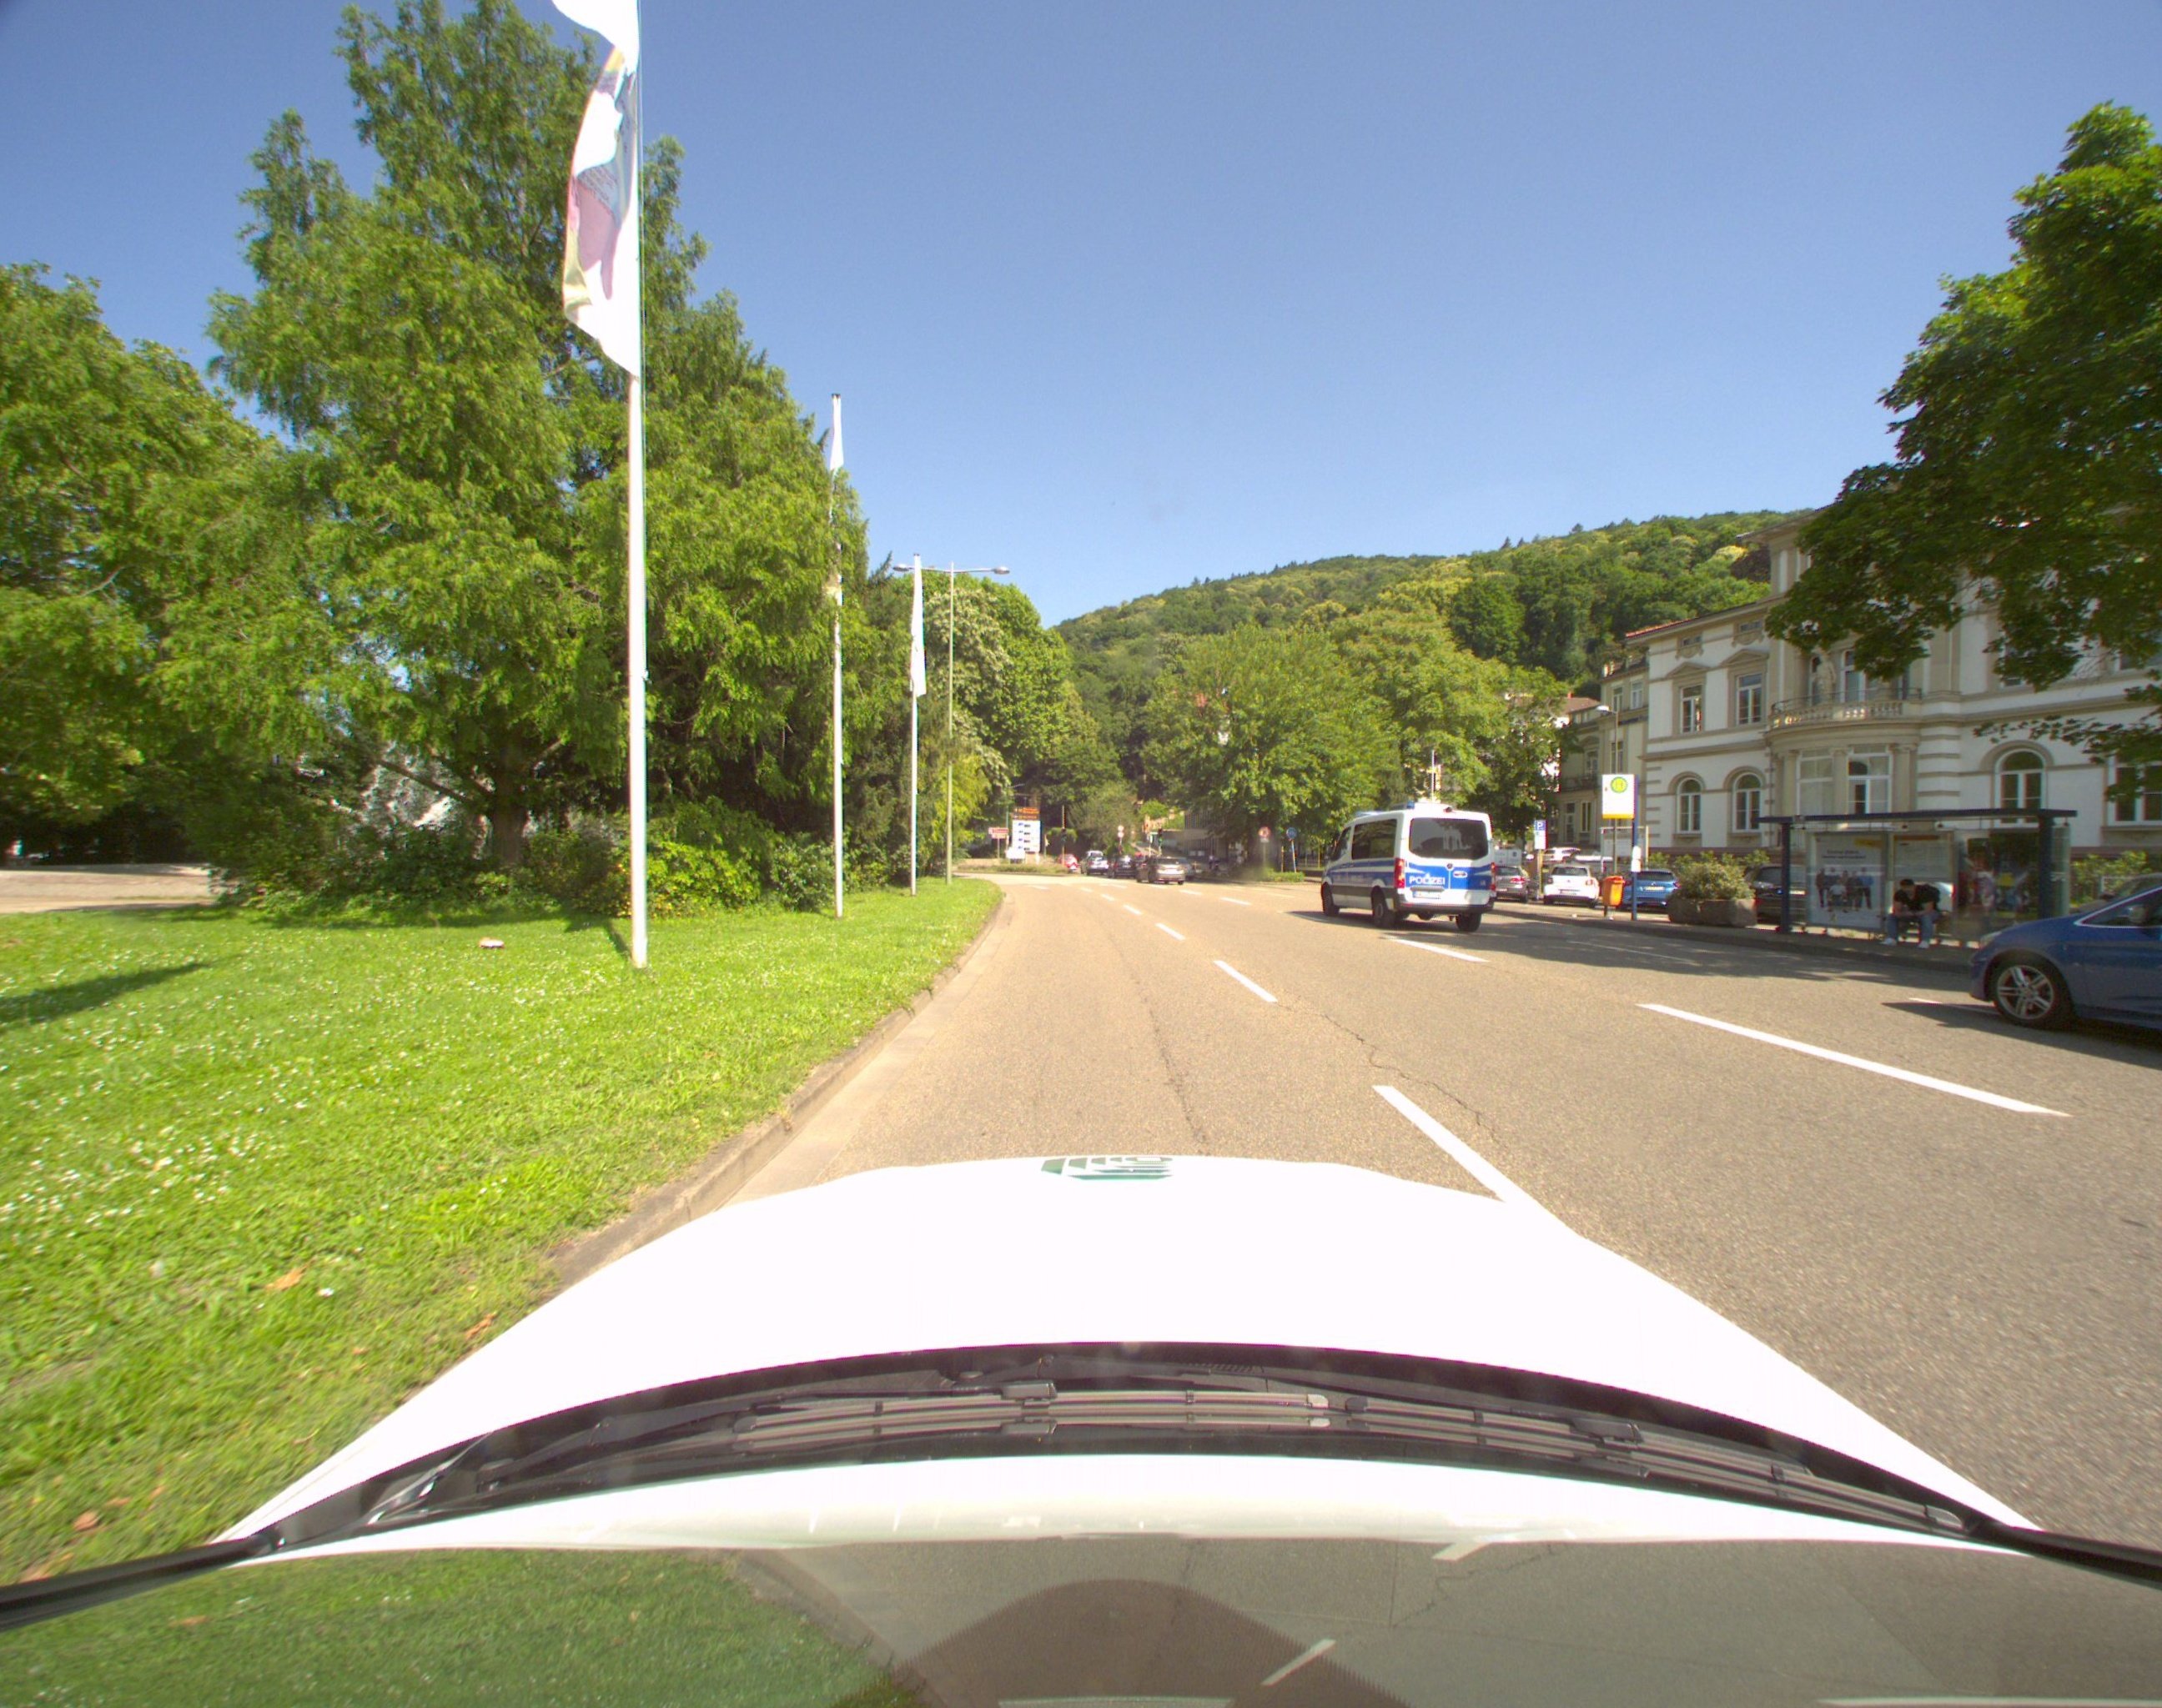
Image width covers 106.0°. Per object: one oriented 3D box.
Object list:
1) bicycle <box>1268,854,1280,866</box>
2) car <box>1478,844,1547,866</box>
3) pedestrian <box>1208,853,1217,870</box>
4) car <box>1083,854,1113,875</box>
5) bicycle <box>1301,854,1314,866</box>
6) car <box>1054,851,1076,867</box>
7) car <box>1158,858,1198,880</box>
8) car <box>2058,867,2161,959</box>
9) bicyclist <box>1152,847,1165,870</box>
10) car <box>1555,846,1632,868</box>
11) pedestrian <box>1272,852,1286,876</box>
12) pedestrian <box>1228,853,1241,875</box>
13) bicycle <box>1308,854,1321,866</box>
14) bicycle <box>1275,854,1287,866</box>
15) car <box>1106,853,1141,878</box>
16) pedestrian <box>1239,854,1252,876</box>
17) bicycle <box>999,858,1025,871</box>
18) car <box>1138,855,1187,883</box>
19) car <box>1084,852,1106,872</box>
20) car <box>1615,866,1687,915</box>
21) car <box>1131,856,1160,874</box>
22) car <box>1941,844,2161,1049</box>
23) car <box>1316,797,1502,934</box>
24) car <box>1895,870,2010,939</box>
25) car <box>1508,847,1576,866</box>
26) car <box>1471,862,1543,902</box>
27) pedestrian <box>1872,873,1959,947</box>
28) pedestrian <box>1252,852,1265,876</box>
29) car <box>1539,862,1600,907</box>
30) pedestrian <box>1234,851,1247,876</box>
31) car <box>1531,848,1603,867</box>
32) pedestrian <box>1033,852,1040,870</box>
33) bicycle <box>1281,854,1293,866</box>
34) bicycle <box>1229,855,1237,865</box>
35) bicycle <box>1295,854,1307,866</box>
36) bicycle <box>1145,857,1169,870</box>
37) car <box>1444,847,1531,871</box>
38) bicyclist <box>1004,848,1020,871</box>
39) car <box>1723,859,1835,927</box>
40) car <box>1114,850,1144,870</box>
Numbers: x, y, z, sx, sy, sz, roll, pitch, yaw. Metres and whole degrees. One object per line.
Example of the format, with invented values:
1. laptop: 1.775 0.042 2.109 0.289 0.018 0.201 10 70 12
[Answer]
1. bicycle: 17.866 0.563 75.307 0.536 1.085 1.832 0 0 -4
2. car: 31.972 0.079 60.336 4.306 1.603 1.816 0 0 -9
3. pedestrian: 11.334 0.659 70.390 0.490 1.458 0.730 0 -1 -18
4. car: 1.235 0.745 60.307 1.754 1.461 3.638 1 0 -6
5. bicycle: 20.991 0.560 75.498 0.536 1.085 1.832 0 0 -4
6. car: -1.479 0.469 76.302 1.754 1.461 3.486 1 0 -6
7. car: 6.021 0.918 50.815 1.754 1.213 3.486 1 0 -6
8. car: 21.385 1.114 15.940 1.692 1.629 4.343 1 0 33
9. bicyclist: 6.800 0.389 71.280 1.120 1.932 0.749 1 0 6
10. car: 33.430 0.186 53.159 4.047 1.419 1.816 0 0 -9
11. pedestrian: 15.344 0.784 63.012 0.770 1.854 0.827 1 0 -7
12. pedestrian: 12.173 0.787 64.678 0.770 1.663 0.828 1 0 -5
13. bicycle: 21.634 0.559 75.572 0.536 1.085 1.832 0 0 -4
14. bicycle: 18.507 0.563 75.354 0.536 1.085 1.832 0 0 -4
15. car: 2.684 0.712 52.146 1.754 1.461 3.486 1 0 -6
16. pedestrian: 12.971 0.848 64.257 0.769 1.663 0.828 1 0 -5
17. bicycle: -5.821 0.866 68.640 2.059 1.112 0.760 1 0 18
18. car: 4.150 0.757 42.016 1.754 1.334 3.792 1 0 -7
19. car: 1.371 0.759 81.118 1.754 1.938 3.486 1 0 -6
20. car: 18.838 1.140 27.048 1.692 1.442 3.835 1 0 31
21. car: 5.345 0.898 67.429 1.754 1.461 3.486 1 0 -6
22. car: 8.946 0.720 5.718 1.709 1.541 4.282 2 0 9
23. car: 6.829 0.225 17.658 2.066 2.508 4.929 1 0 0
24. car: 20.722 1.160 19.453 1.186 1.482 2.302 1 0 28
25. car: 32.913 0.187 58.190 4.039 1.336 1.816 0 0 -9
26. car: 16.962 1.053 32.321 1.804 1.461 4.133 1 0 38
27. pedestrian: 14.406 0.941 14.064 1.023 1.197 0.785 1 0 -27
28. pedestrian: 13.749 0.748 63.116 0.770 1.854 0.827 1 0 -7
29. car: 18.090 1.057 30.081 1.691 1.511 3.836 1 0 34
30. pedestrian: 12.448 0.736 63.474 0.769 1.854 0.828 1 0 -4
31. car: 33.353 0.238 55.928 4.074 1.336 1.816 0 0 -9
32. pedestrian: -4.046 0.621 74.377 0.544 1.621 0.635 0 0 3
33. bicycle: 19.099 0.562 75.412 0.536 1.085 1.832 0 0 -4
34. bicycle: 15.014 0.567 80.468 0.404 1.012 1.339 0 0 -5
35. bicycle: 20.398 0.560 75.425 0.536 1.085 1.832 0 0 -4
36. bicycle: 6.698 0.795 71.288 2.066 1.112 0.758 1 0 6
37. car: 23.191 0.289 46.532 4.039 1.336 1.986 0 0 -9
38. bicyclist: -5.786 0.455 68.632 1.117 1.932 0.752 0 -1 19
39. car: 19.661 1.013 23.123 1.692 1.696 4.301 1 0 31
40. car: 3.751 0.446 63.640 1.754 1.461 3.638 1 0 -6
